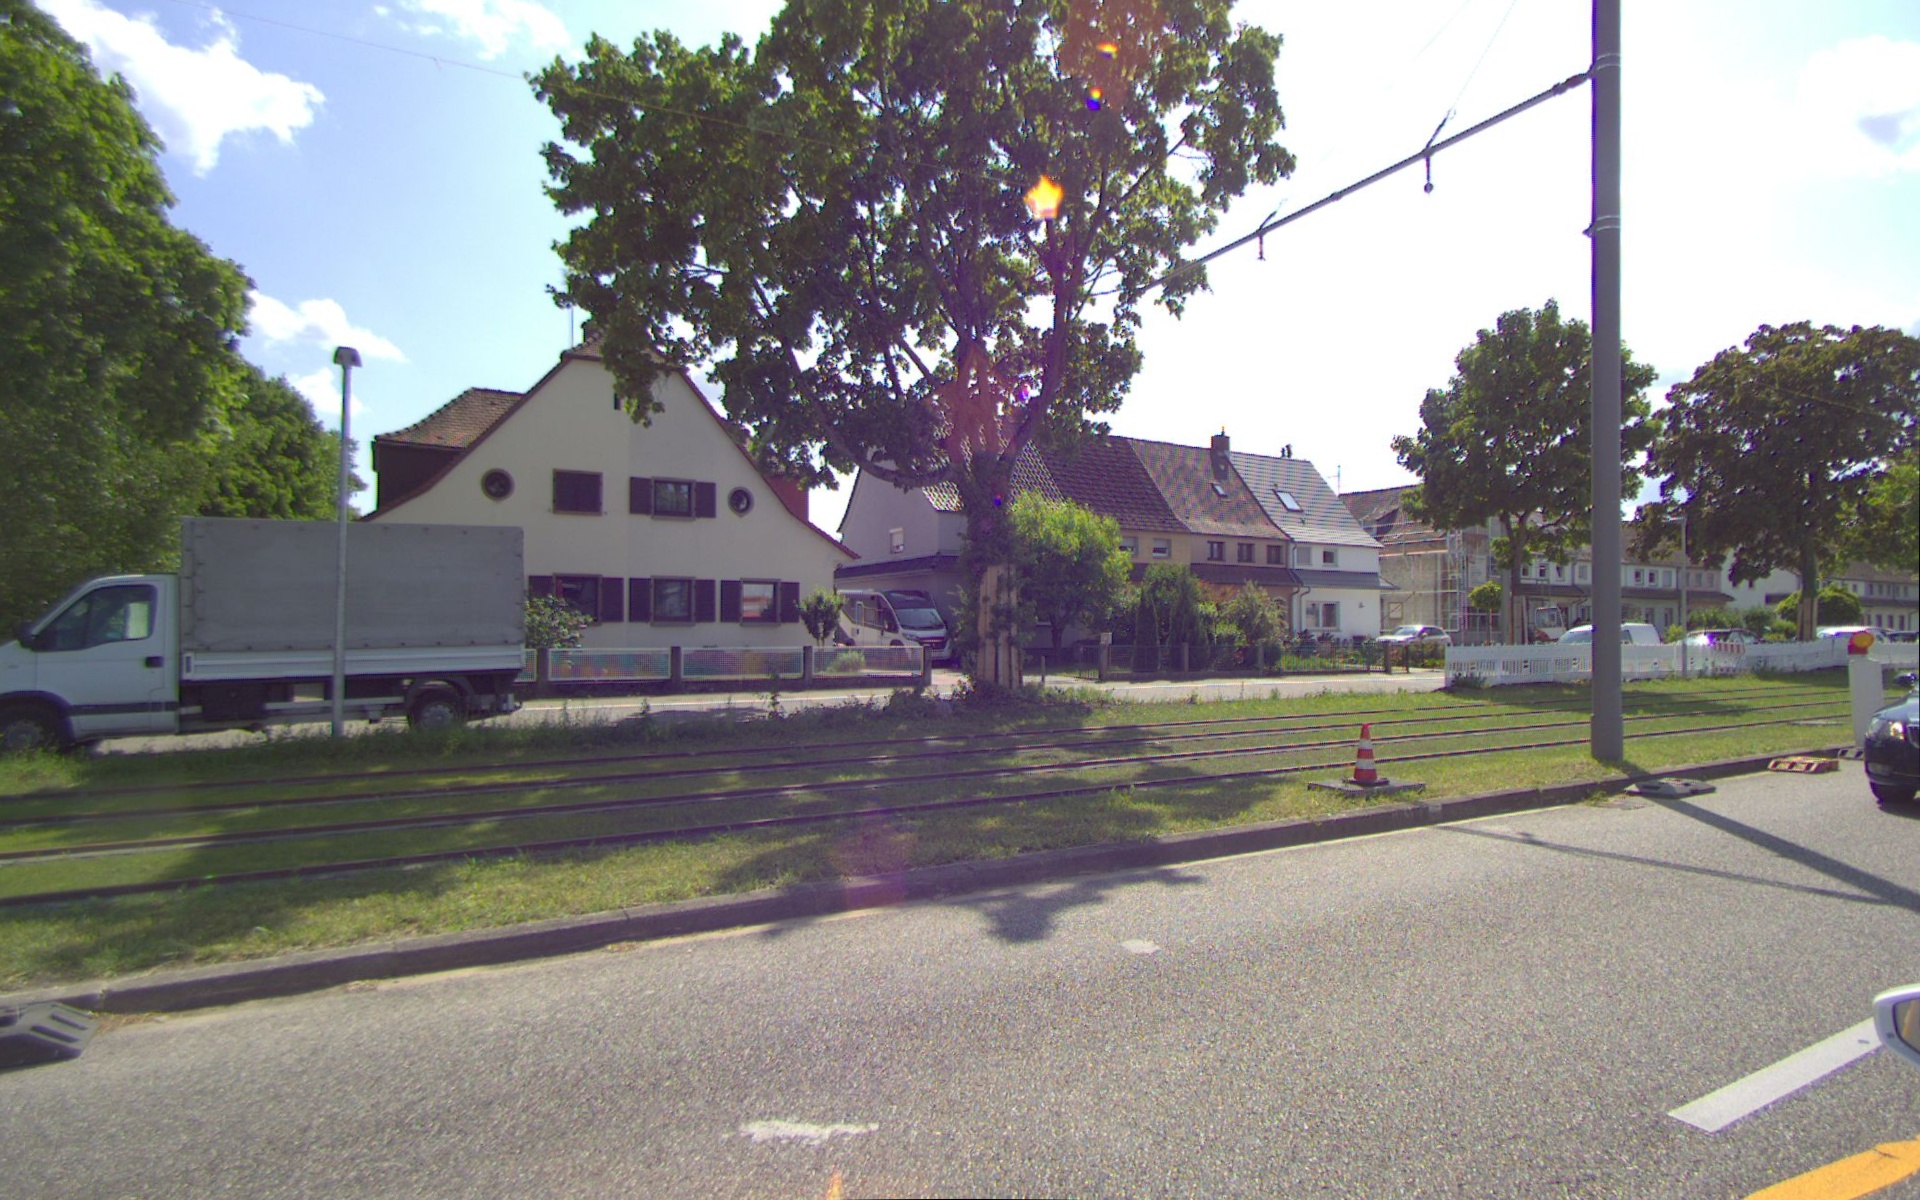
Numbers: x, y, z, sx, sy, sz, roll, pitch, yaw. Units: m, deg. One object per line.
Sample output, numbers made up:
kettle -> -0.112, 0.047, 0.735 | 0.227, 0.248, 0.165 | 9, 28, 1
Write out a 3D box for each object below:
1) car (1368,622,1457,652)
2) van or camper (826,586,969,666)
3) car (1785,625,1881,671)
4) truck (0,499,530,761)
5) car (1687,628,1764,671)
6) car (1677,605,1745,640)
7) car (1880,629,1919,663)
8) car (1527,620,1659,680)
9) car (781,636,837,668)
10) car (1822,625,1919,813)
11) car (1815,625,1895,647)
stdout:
car -> 20.047, 1.651, 44.440 | 4.072, 1.291, 1.527 | 2, -3, -31
van or camper -> -2.447, 0.863, 36.997 | 2.473, 2.667, 6.296 | 2, 0, -33
car -> 33.523, 1.843, 38.549 | 3.854, 1.673, 1.615 | 2, -3, -31
truck -> -8.945, 0.377, 13.072 | 5.882, 2.842, 2.353 | 2, 0, -30
car -> 25.337, 1.649, 33.240 | 2.417, 1.365, 1.069 | 2, -3, -27
car -> 46.257, 1.396, 61.888 | 3.954, 2.040, 1.983 | 2, 0, -31
car -> 40.283, 1.959, 42.371 | 3.078, 1.395, 1.344 | 2, -3, -31
car -> 18.543, 1.468, 29.414 | 3.954, 1.647, 1.645 | 2, -3, -31
car -> -6.570, 2.240, 43.481 | 1.330, 1.189, 2.846 | 2, 0, -33
car -> 9.751, 0.982, 8.983 | 4.483, 1.506, 1.703 | 1, -3, -30
car -> 64.318, 2.598, 72.233 | 1.706, 1.529, 3.966 | 1, -2, -31
